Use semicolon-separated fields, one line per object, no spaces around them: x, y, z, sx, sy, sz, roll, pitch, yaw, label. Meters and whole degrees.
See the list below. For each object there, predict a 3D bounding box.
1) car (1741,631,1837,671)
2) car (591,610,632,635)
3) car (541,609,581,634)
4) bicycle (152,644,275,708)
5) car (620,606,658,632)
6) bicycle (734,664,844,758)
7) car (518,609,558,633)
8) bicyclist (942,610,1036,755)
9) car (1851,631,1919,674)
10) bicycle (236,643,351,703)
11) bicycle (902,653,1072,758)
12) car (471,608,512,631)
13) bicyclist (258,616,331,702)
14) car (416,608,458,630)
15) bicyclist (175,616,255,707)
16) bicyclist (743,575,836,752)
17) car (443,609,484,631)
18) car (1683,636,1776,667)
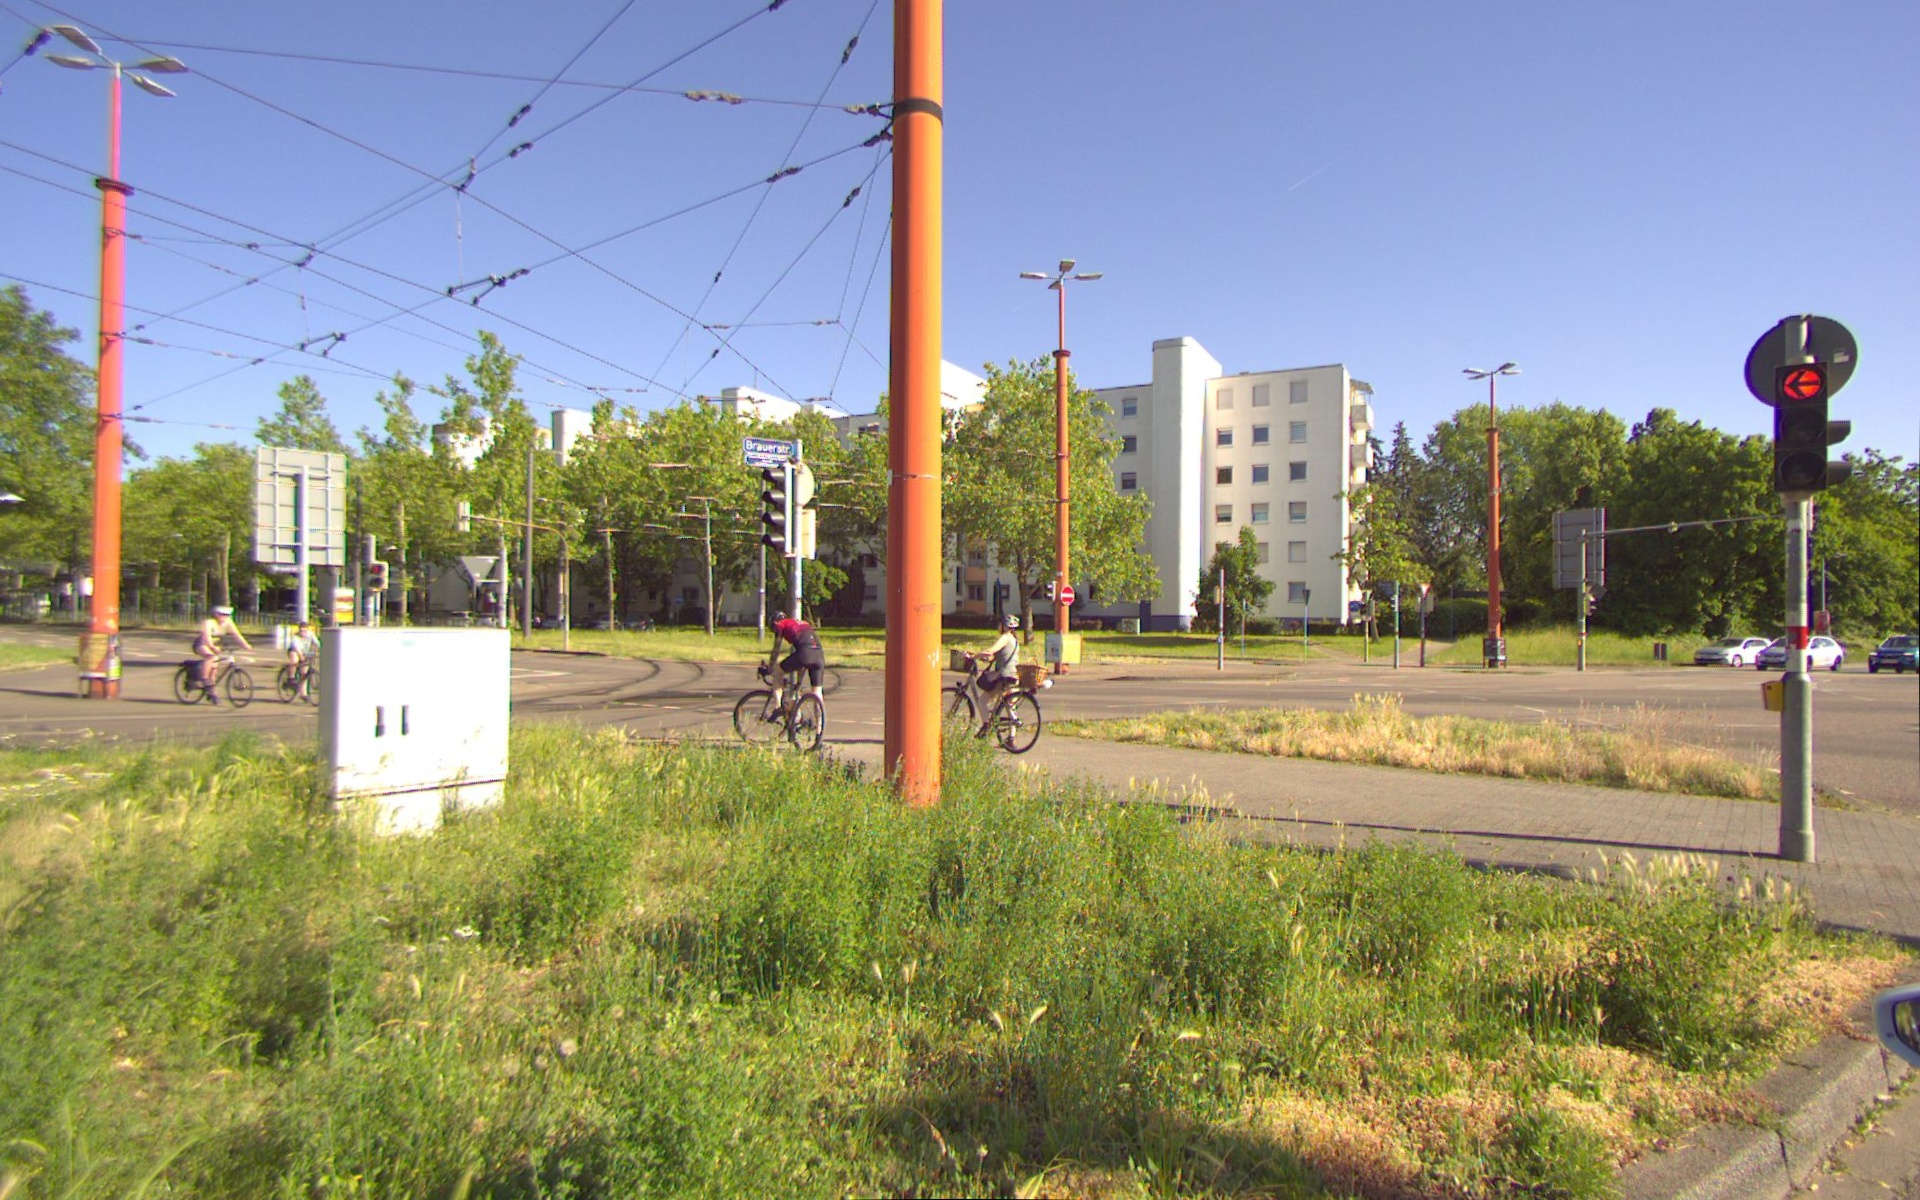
35.153;2.149;42.591;4.075;1.594;1.983;1;-1;-32;car
-26.108;1.683;75.329;1.962;1.840;3.997;1;-1;-5;car
-31.191;1.672;78.678;1.963;1.840;3.995;1;-1;-8;car
-14.028;1.409;18.895;1.849;1.102;0.928;0;-1;18;bicycle
-23.402;1.395;73.417;1.963;1.840;3.995;1;-1;-8;car
-2.115;1.305;12.236;0.915;0.976;1.747;1;-1;-24;bicycle
-33.807;1.667;80.528;1.963;1.840;3.995;1;-1;-8;car
0.359;0.954;12.097;0.728;1.659;0.931;0;-1;35;bicyclist
37.269;2.037;39.864;4.079;1.594;1.981;2;-1;-35;car
-13.251;1.439;19.980;1.849;1.102;0.928;0;-1;18;bicycle
0.315;1.224;12.121;1.855;1.102;0.925;0;-1;34;bicycle
-39.282;1.637;84.326;1.963;1.840;3.995;1;-1;-8;car
-13.211;1.159;19.968;0.726;1.659;0.934;0;-1;18;bicyclist
-46.021;1.671;88.477;1.963;1.840;3.995;1;-1;-8;car
-14.002;1.131;18.897;0.726;1.659;0.934;0;-1;18;bicyclist
-2.065;0.745;12.139;0.921;2.040;0.736;1;-1;-25;bicyclist
-42.672;1.695;86.448;1.963;1.840;3.995;1;-1;-8;car
38.231;2.545;49.911;4.159;1.471;1.790;1;-1;-22;car
